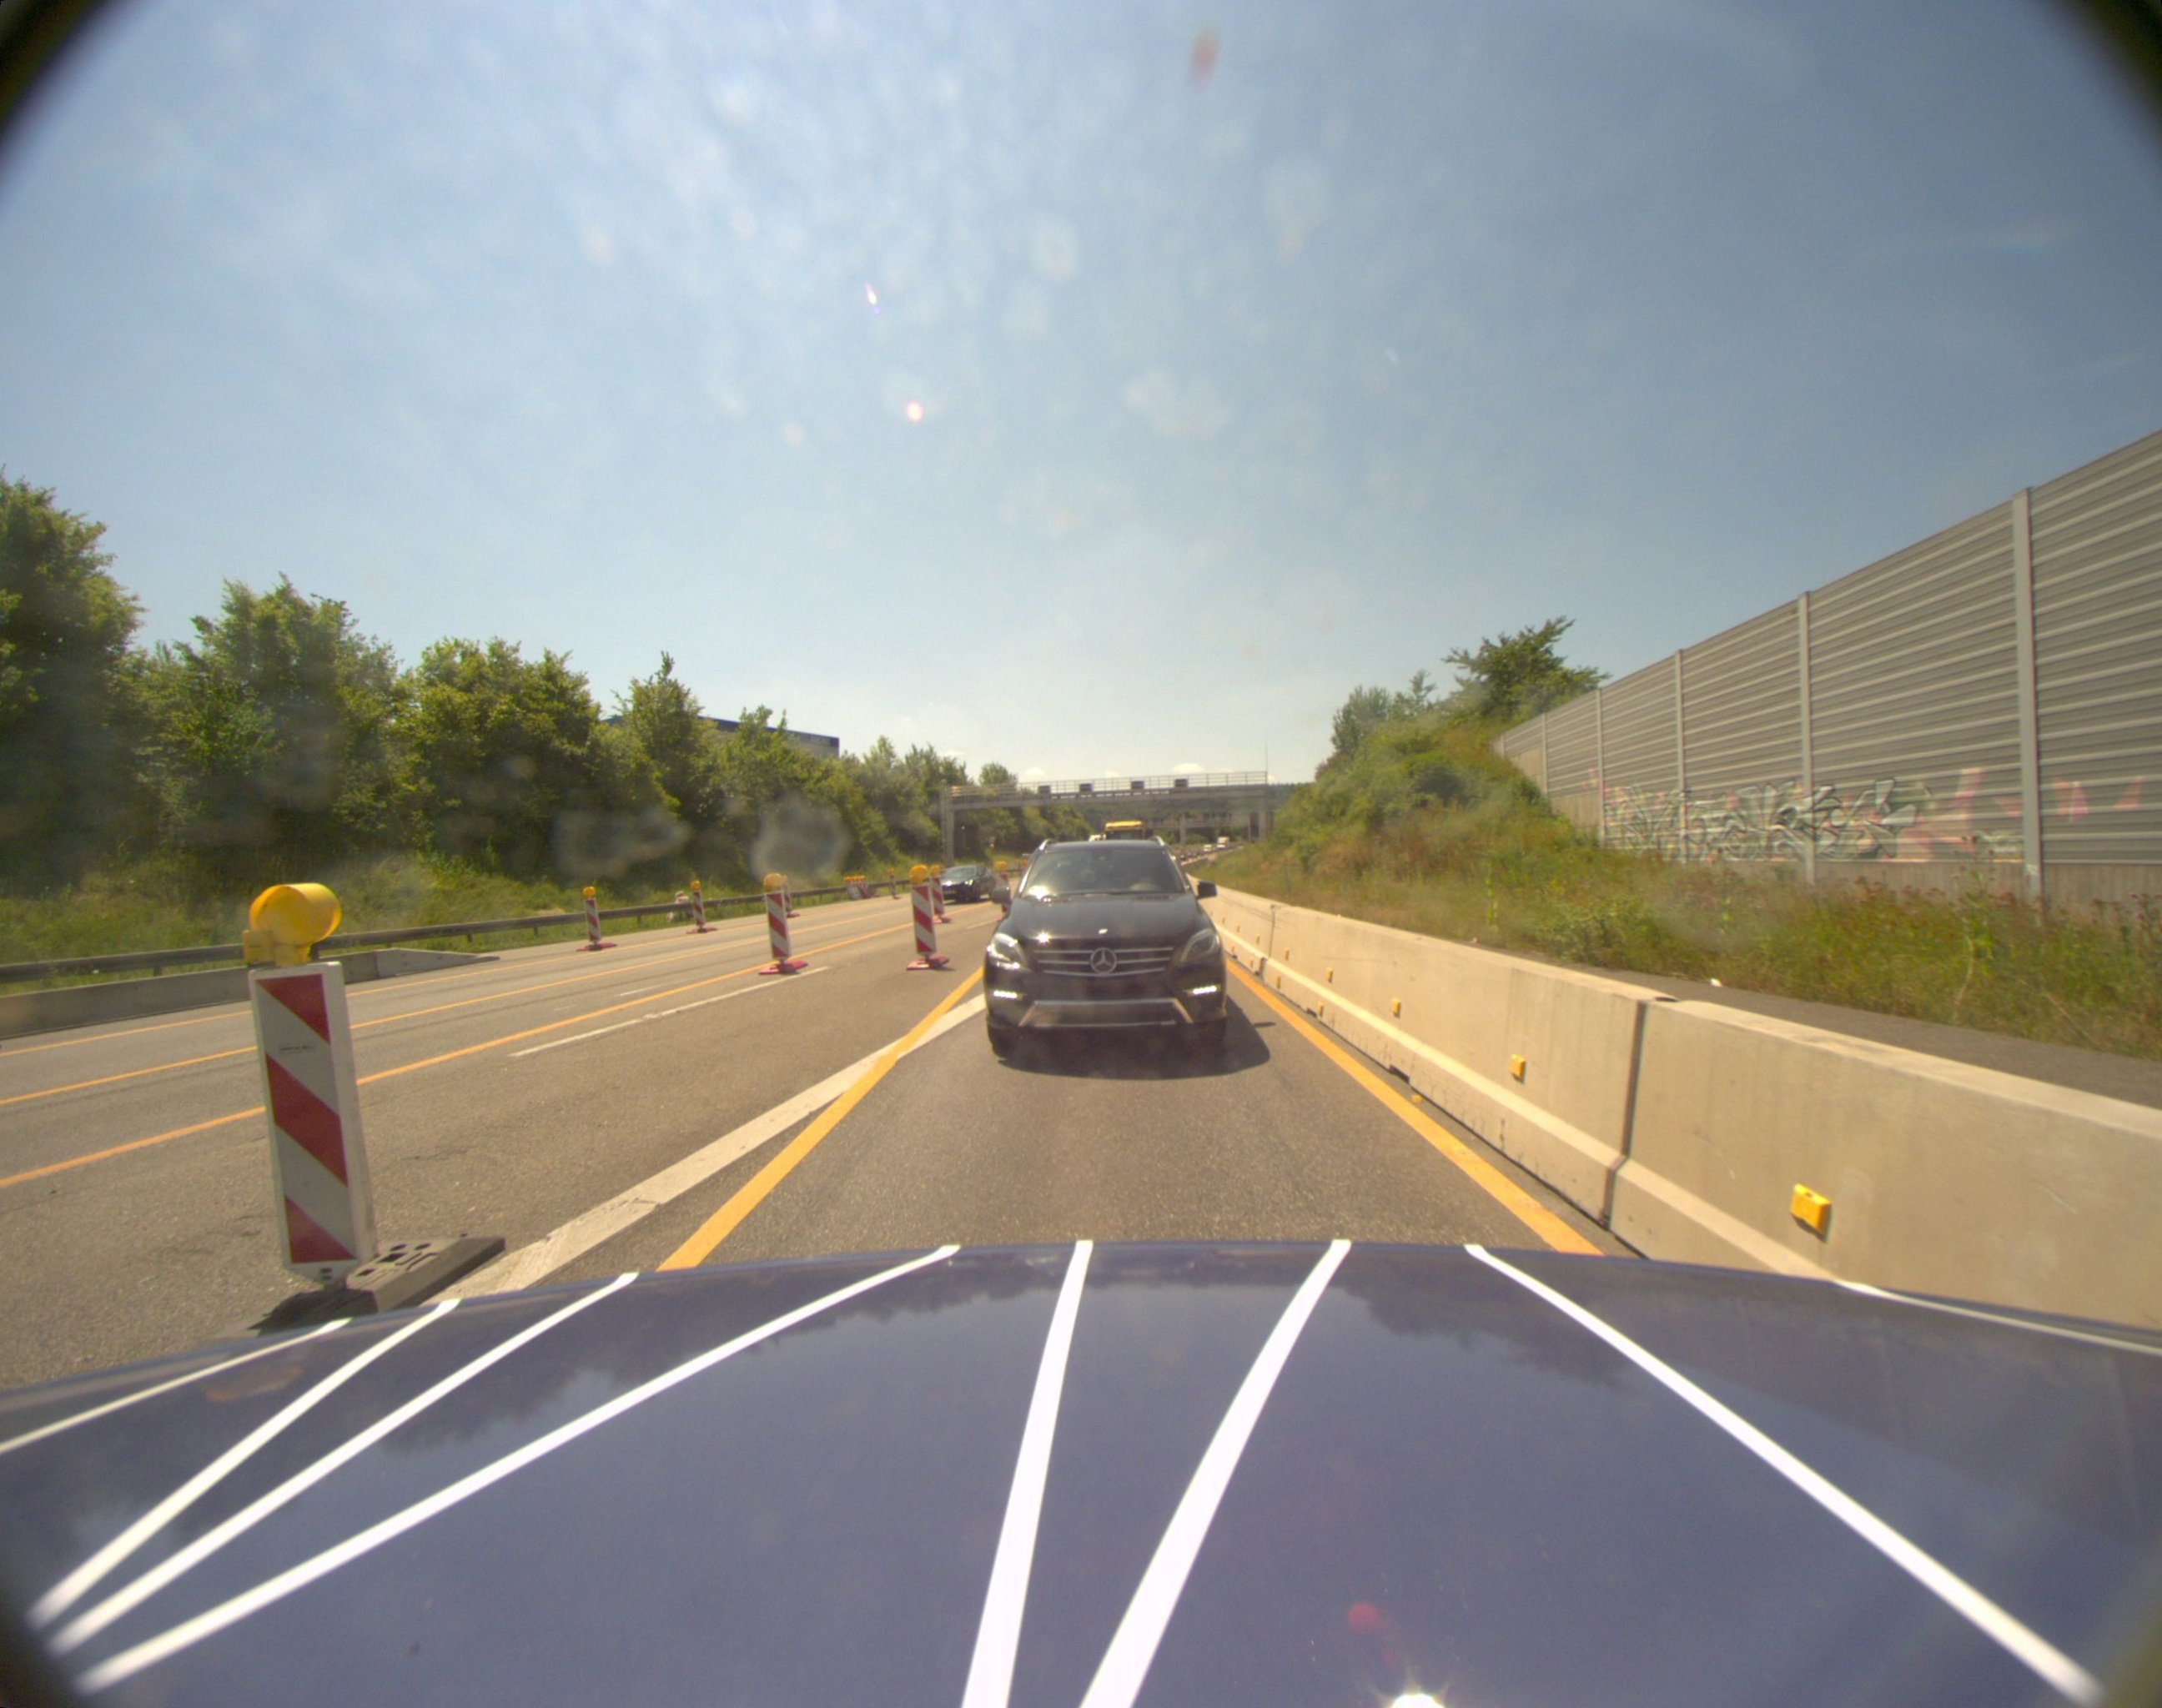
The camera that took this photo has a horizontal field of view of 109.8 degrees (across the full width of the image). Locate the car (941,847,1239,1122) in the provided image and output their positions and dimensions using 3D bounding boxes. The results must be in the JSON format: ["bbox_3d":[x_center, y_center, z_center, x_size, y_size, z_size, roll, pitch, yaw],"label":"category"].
[{"bbox_3d":[0.312,0.830,7.070,1.818,1.685,4.495,-3,0,7],"label":"car"}]

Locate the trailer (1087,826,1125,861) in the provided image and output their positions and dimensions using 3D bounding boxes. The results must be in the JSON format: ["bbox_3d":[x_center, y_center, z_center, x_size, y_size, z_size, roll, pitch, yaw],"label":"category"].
[{"bbox_3d":[3.263,-1.240,95.680,2.545,3.929,13.879,-4,0,10],"label":"trailer"}]

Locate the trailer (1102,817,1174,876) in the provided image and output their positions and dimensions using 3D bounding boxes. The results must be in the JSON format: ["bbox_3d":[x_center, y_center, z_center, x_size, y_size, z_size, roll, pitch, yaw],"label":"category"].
[{"bbox_3d":[4.757,-0.494,58.208,3.234,3.645,17.437,-3,-1,11],"label":"trailer"}]

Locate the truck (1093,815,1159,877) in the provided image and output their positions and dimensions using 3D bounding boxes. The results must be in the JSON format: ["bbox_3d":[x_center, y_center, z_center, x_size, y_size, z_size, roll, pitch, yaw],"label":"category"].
[{"bbox_3d":[3.122,-0.490,50.175,3.227,3.639,7.089,-3,0,11],"label":"truck"}]

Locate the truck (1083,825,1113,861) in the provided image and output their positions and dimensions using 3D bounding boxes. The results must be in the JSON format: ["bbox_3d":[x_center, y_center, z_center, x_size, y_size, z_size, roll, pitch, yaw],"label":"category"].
[{"bbox_3d":[2.042,-1.230,88.897,2.532,3.927,5.603,-4,0,10],"label":"truck"}]

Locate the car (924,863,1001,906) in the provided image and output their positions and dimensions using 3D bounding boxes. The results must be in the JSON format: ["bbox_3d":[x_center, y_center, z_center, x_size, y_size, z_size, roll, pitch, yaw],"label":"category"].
[{"bbox_3d":[-4.751,1.198,31.271,1.998,1.477,4.679,-3,0,5],"label":"car"}]
